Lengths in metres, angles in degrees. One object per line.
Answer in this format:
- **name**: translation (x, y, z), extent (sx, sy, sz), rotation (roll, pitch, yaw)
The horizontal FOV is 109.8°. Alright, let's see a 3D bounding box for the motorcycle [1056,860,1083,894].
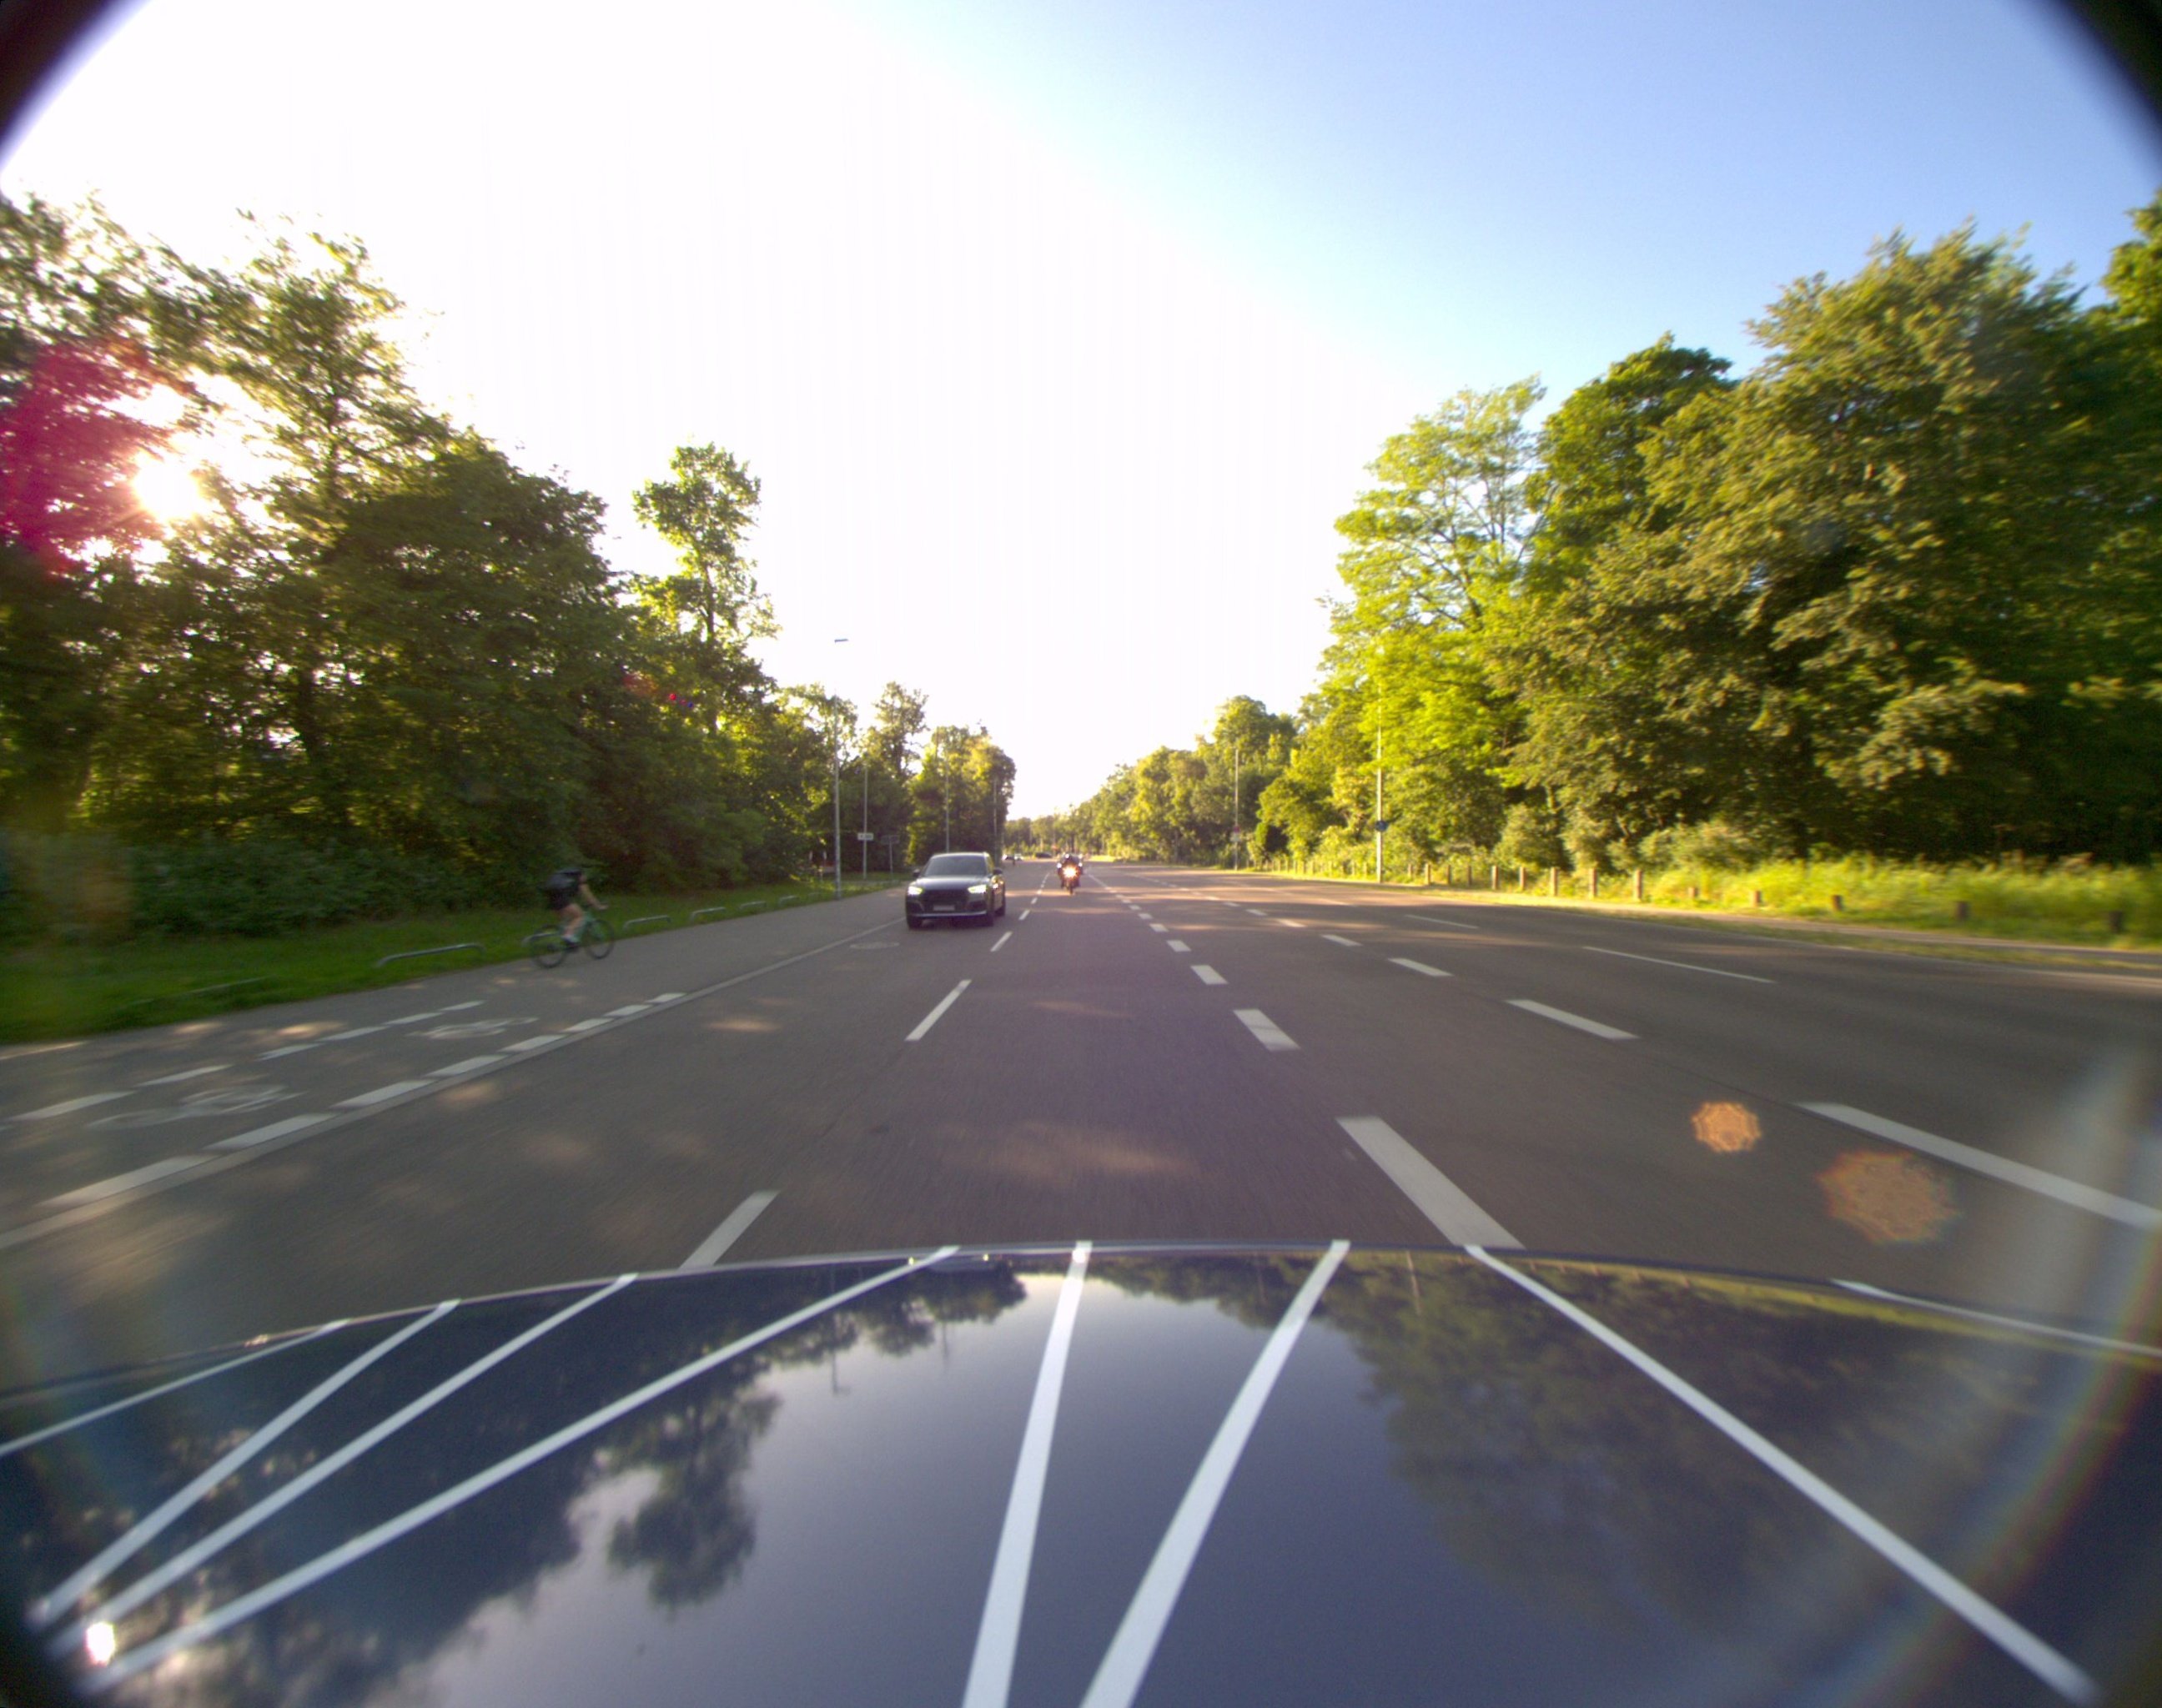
- **motorcycle**: translation (-0.428, 0.881, 30.183), extent (0.916, 1.243, 2.963), rotation (-2, 0, 2)

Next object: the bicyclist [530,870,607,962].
- **bicyclist**: translation (-8.176, 0.963, 12.152), extent (0.480, 1.377, 0.879), rotation (-1, 1, 14)

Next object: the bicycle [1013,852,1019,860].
- **bicycle**: translation (-9.454, 0.301, 110.034), extent (0.556, 1.130, 1.861), rotation (2, 0, -13)

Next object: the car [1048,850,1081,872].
- **car**: translation (-1.280, 0.477, 57.320), extent (1.868, 1.538, 4.792), rotation (-1, 0, -9)

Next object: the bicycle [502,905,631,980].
- **bicycle**: translation (-8.162, 1.370, 12.157), extent (0.551, 0.962, 1.758), rotation (-1, 1, 14)

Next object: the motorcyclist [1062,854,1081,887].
- **motorcyclist**: translation (-0.384, 0.657, 30.035), extent (0.671, 1.257, 0.825), rotation (-2, 1, -2)

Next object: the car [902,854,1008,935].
- **car**: translation (-2.854, 0.847, 18.239), extent (1.898, 1.596, 4.543), rotation (-2, 1, -2)

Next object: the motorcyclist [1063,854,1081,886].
- **motorcyclist**: translation (-0.356, 0.636, 30.937), extent (0.671, 1.257, 0.826), rotation (-2, 1, 2)

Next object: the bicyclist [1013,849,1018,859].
- **bicyclist**: translation (-9.436, -0.008, 110.062), extent (0.522, 1.460, 0.860), rotation (2, 0, -13)
